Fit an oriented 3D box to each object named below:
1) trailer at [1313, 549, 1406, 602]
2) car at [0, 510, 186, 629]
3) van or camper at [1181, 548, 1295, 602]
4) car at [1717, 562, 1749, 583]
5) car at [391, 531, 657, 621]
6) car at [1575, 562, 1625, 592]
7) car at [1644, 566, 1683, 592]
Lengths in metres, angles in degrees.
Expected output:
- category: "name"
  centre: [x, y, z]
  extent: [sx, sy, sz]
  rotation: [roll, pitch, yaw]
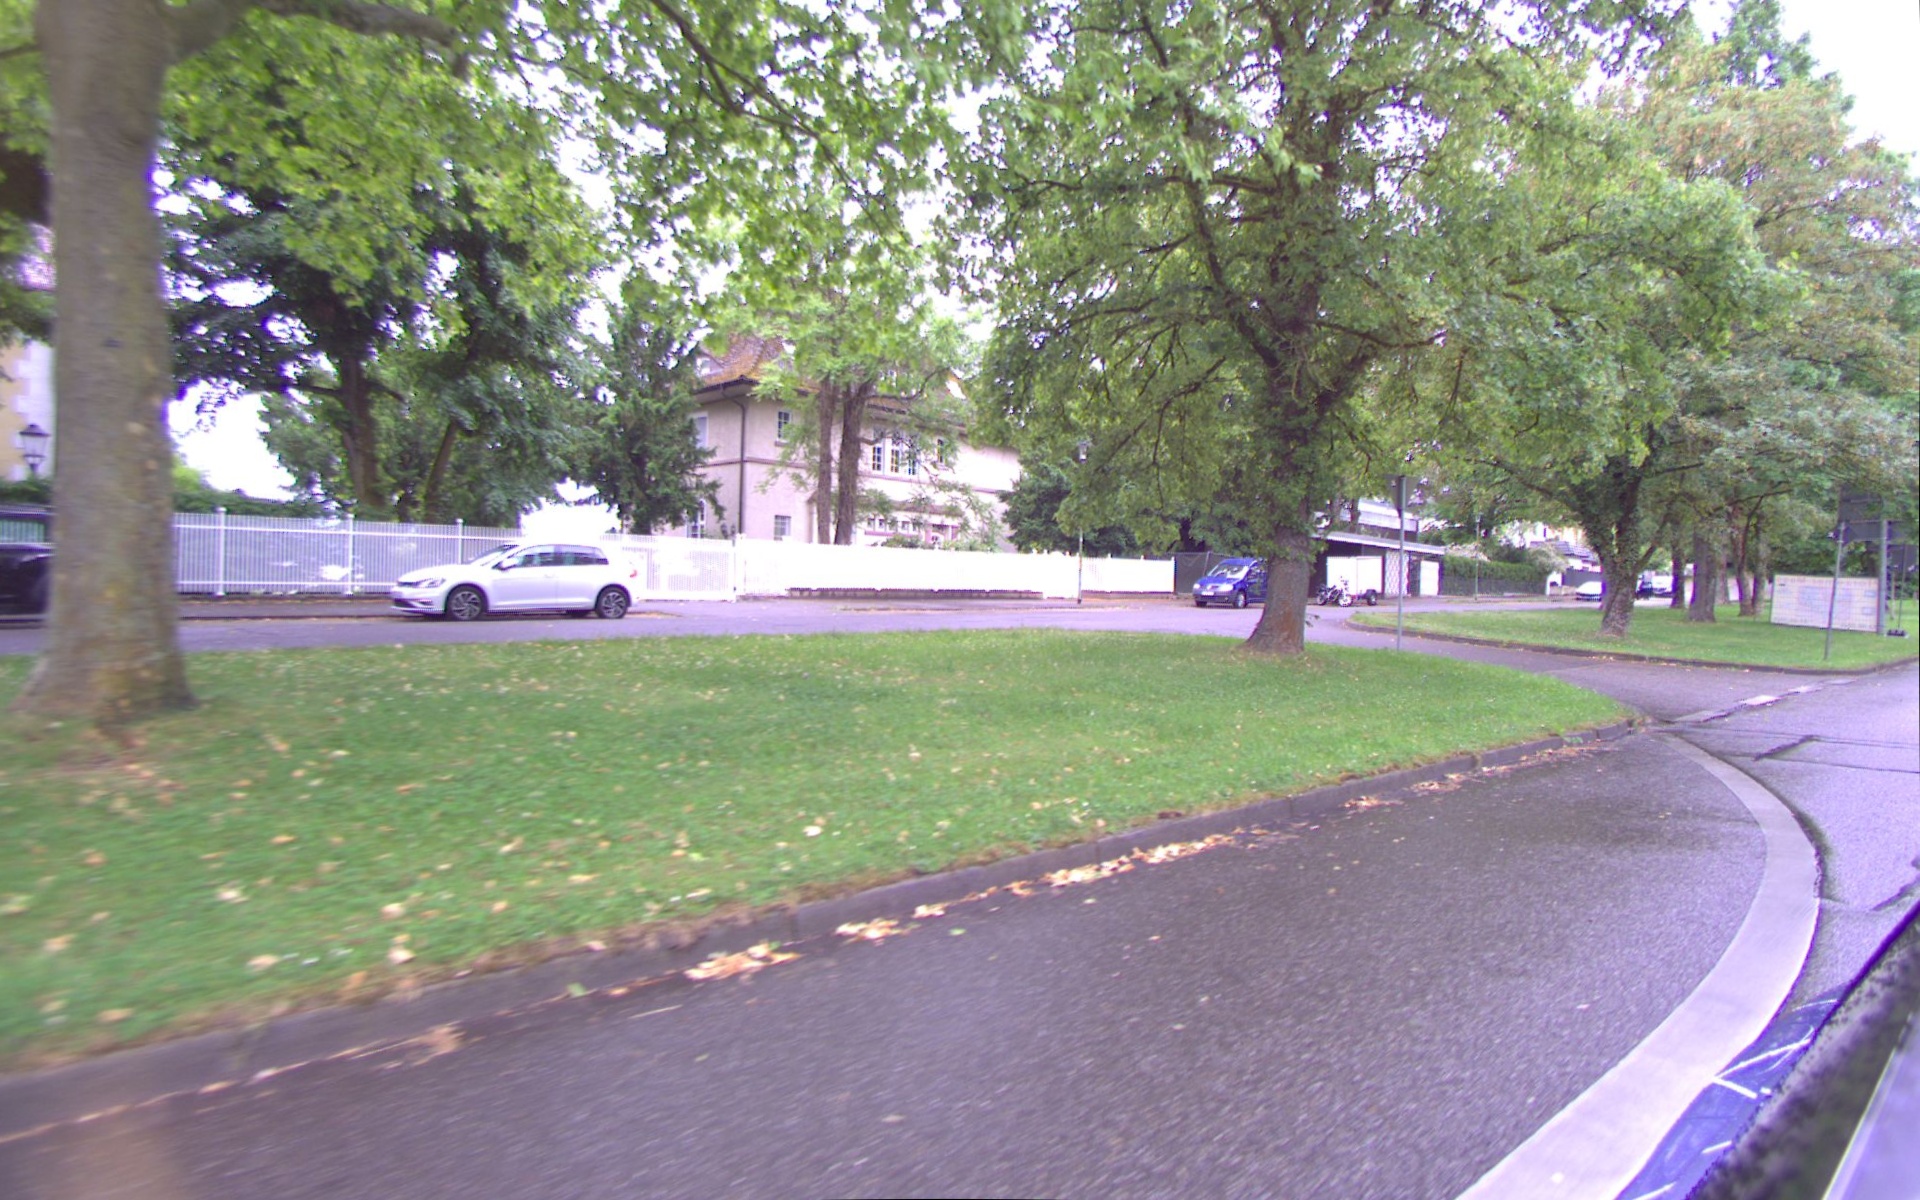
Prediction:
- category: "trailer"
  centre: [17.119, -1.036, 43.272]
  extent: [5.108, 2.143, 1.768]
  rotation: [-1, 1, -44]
- category: "car"
  centre: [-12.828, -0.390, 13.268]
  extent: [1.994, 1.489, 4.058]
  rotation: [0, 1, 45]
- category: "van or camper"
  centre: [10.110, -0.866, 36.598]
  extent: [1.993, 1.831, 4.701]
  rotation: [0, 1, 43]
- category: "car"
  centre: [80.377, -2.840, 105.272]
  extent: [3.934, 2.038, 1.996]
  rotation: [-1, 3, -44]
- category: "car"
  centre: [-7.900, -0.421, 18.570]
  extent: [1.994, 1.467, 4.058]
  rotation: [0, 1, 45]
- category: "car"
  centre: [46.047, -1.634, 72.763]
  extent: [3.932, 2.038, 1.997]
  rotation: [-1, 3, -42]
- category: "car"
  centre: [62.300, -1.871, 89.606]
  extent: [3.933, 2.039, 1.996]
  rotation: [2, 1, -44]
